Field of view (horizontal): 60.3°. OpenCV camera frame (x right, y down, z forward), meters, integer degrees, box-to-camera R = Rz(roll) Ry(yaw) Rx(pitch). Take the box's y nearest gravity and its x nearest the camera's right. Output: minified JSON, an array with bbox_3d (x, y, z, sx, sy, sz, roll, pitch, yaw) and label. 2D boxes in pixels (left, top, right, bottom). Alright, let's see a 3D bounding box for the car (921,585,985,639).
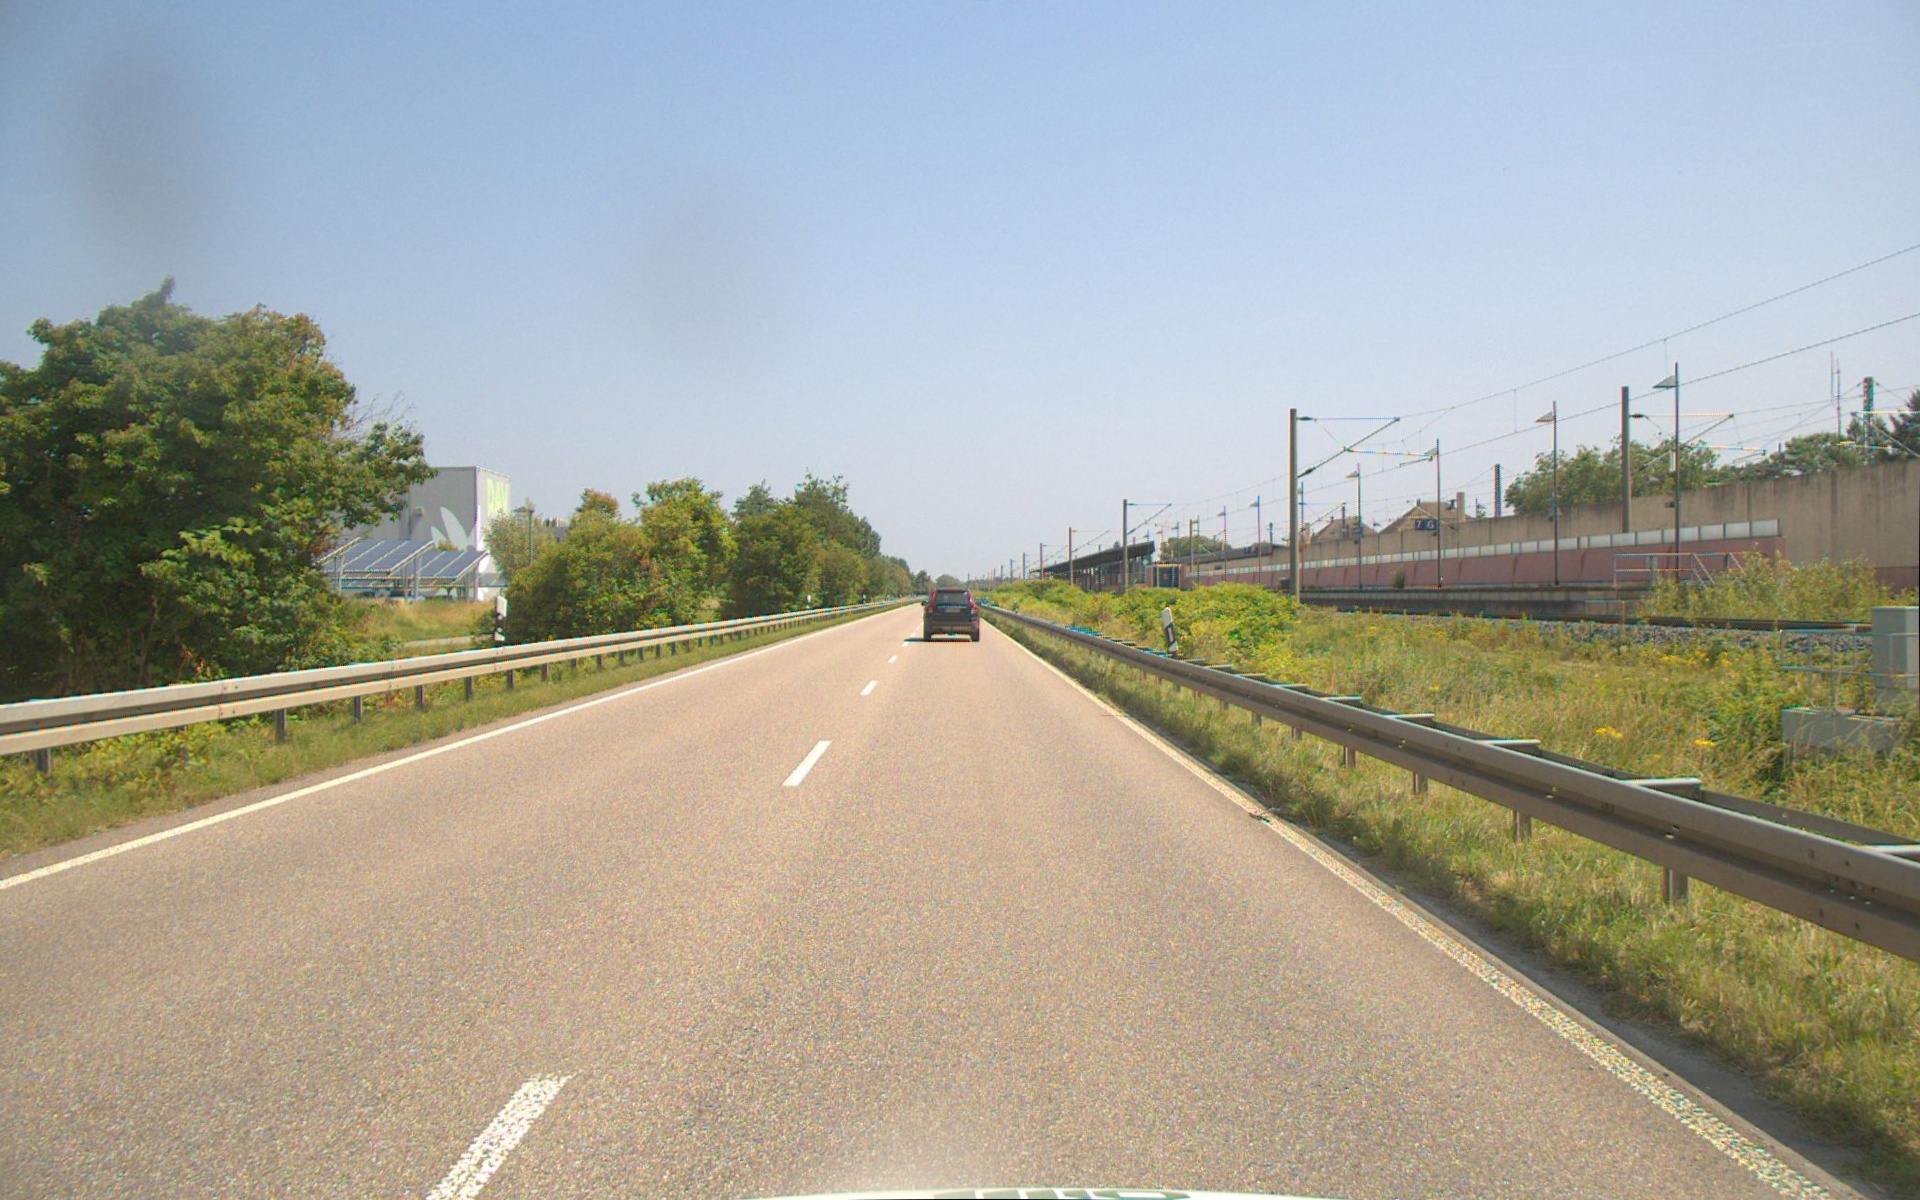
[{"bbox_3d":[-0.276,0.390,54.988,1.954,1.730,3.998,0,0,-3],"label":"car"}]
